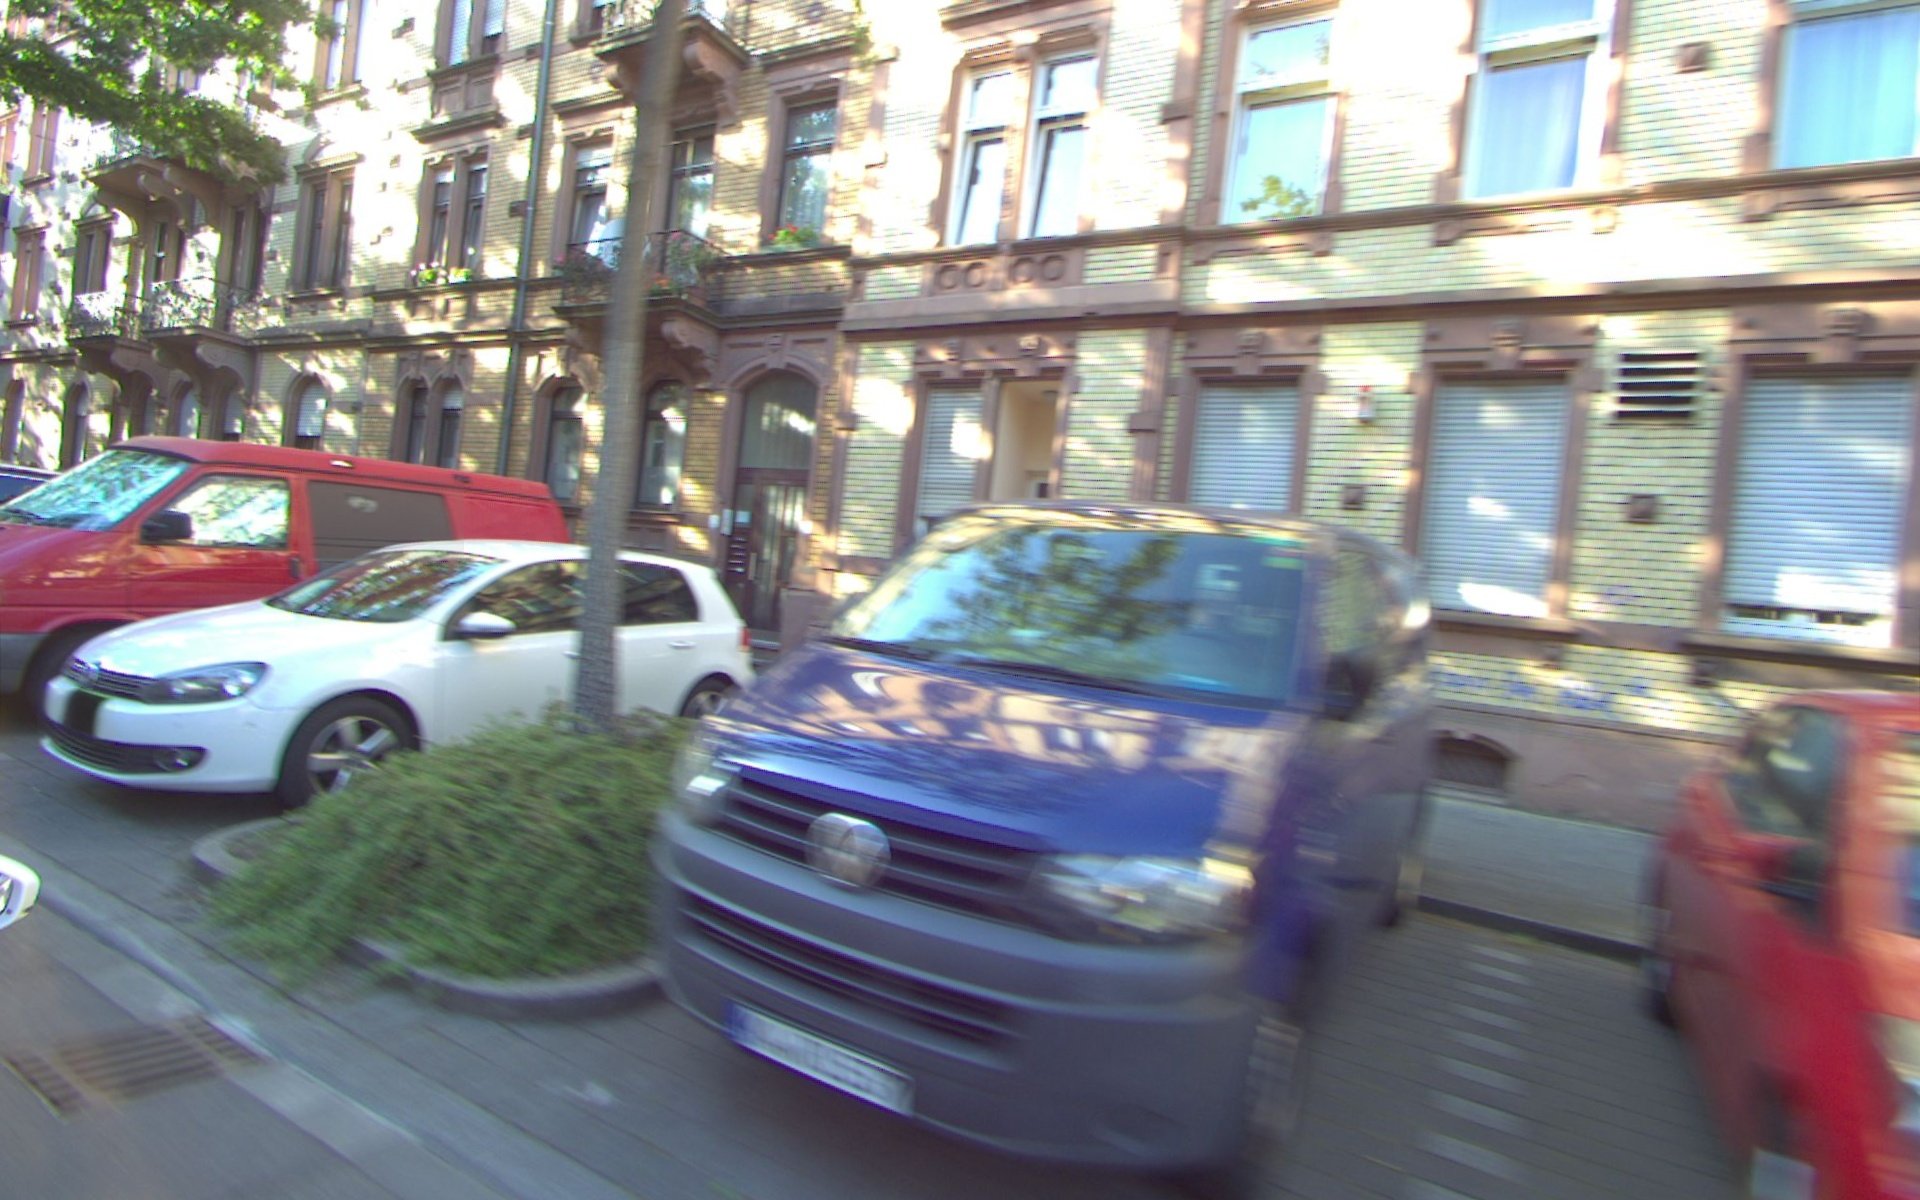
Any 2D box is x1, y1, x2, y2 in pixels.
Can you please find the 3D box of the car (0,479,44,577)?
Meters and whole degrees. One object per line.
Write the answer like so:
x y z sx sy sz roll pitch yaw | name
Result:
-15.874 -1.204 14.174 1.764 1.453 4.012 6 2 29 | car

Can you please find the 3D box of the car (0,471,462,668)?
-7.520 -0.263 9.545 1.848 1.534 4.676 6 1 32 | car

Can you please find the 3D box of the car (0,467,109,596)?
-13.824 -1.034 12.912 1.774 1.649 4.015 6 1 28 | car

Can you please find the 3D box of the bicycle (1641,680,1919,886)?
6.553 1.353 7.294 2.550 1.187 0.670 6 2 33 | bicycle

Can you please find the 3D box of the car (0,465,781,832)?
-3.245 0.221 6.518 1.847 1.530 4.057 6 1 29 | car

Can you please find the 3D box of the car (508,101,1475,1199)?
0.937 0.314 4.490 1.959 2.242 5.029 6 -1 30 | car

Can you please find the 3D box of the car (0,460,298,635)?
-9.704 -0.576 10.551 1.807 1.649 4.187 6 1 33 | car

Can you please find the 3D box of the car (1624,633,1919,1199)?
3.122 1.046 2.848 1.696 1.553 4.112 6 -1 30 | car

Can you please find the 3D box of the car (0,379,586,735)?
-5.514 -0.265 7.927 1.846 2.060 4.681 6 1 27 | car
